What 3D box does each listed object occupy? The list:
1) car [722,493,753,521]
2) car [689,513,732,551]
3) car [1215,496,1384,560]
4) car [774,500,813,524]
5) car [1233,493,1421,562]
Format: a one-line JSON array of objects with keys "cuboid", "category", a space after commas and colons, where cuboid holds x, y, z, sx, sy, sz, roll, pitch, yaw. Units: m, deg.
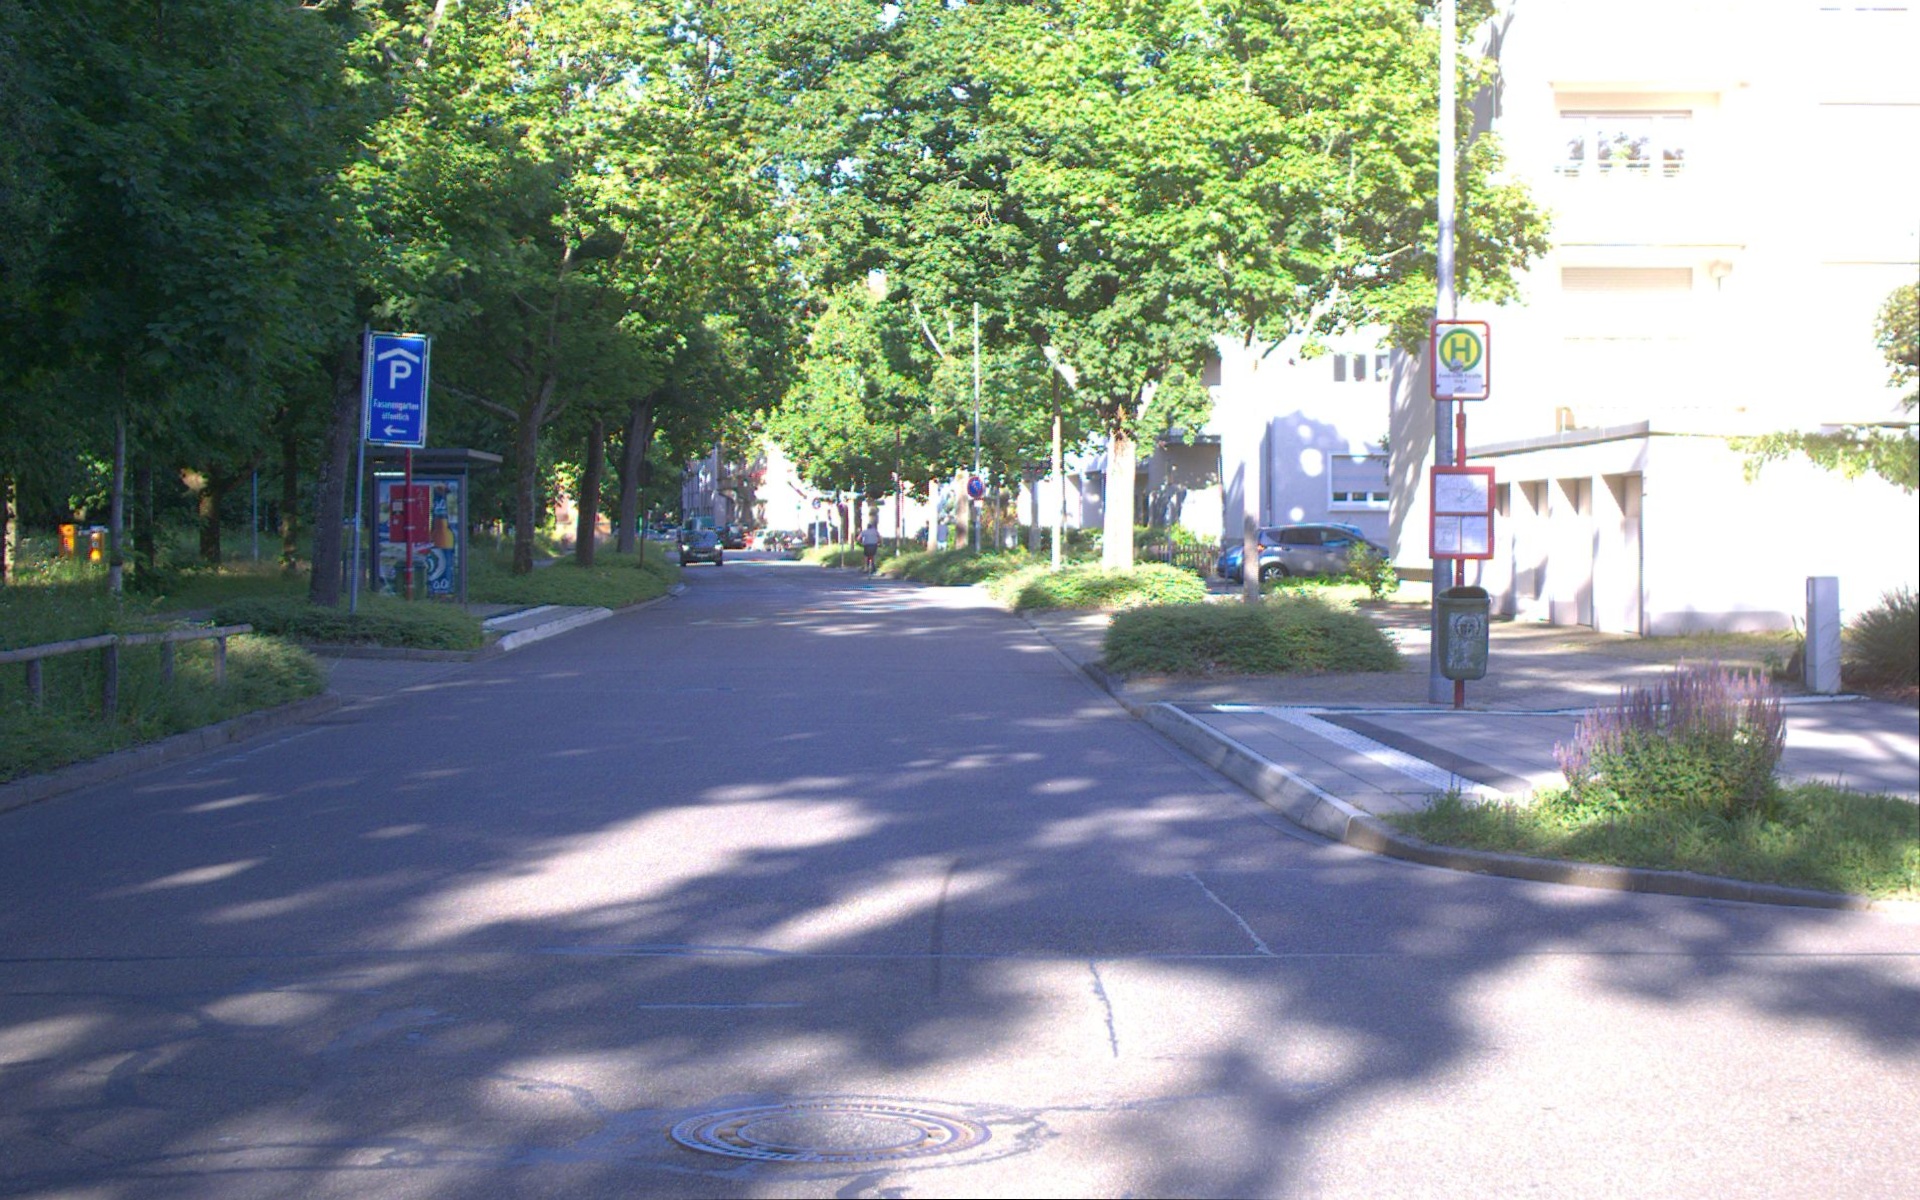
[{"cuboid": [-16.103, -6.720, 248.472, 1.811, 1.919, 4.001, 1, 2, -9], "category": "car"}, {"cuboid": [-10.972, -2.992, 151.146, 1.844, 1.573, 4.337, -2, 2, -4], "category": "car"}, {"cuboid": [8.581, -1.837, 87.144, 3.986, 1.576, 1.810, 0, 3, -5], "category": "car"}, {"cuboid": [-10.674, -5.664, 220.139, 1.811, 1.496, 4.001, -1, 2, -12], "category": "car"}, {"cuboid": [8.453, -1.655, 79.358, 4.040, 1.509, 1.727, 1, 0, -4], "category": "car"}]
